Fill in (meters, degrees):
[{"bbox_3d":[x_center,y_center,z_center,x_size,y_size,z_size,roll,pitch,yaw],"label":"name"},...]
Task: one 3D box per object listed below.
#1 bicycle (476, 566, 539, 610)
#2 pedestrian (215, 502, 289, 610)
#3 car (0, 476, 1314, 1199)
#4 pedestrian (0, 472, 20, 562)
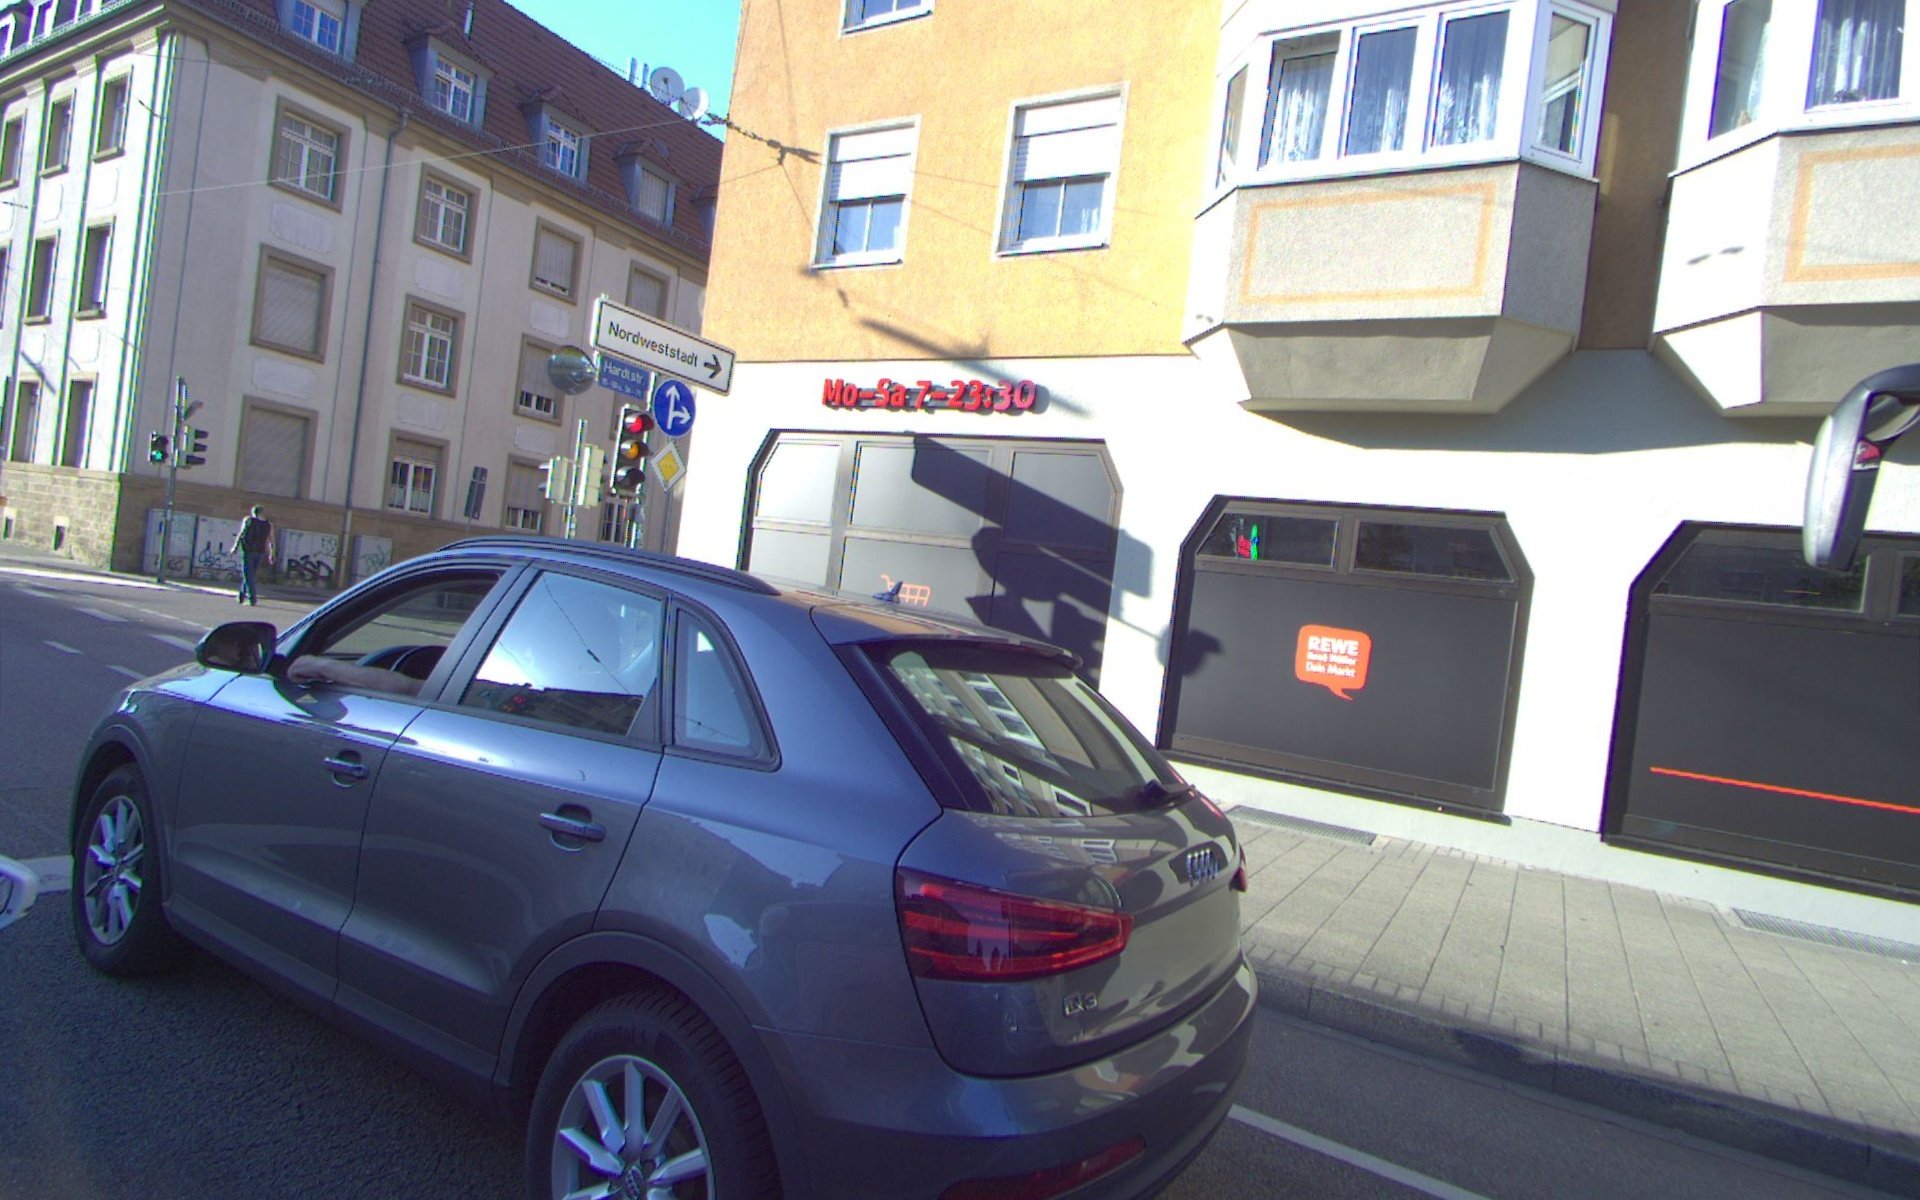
[{"bbox_3d":[-12.546,-0.323,27.927,1.499,1.029,0.247,9,-2,-43],"label":"bicycle"},{"bbox_3d":[-12.495,-0.778,17.761,0.812,1.778,0.630,6,-1,32],"label":"pedestrian"},{"bbox_3d":[-1.254,0.623,3.297,4.155,1.571,1.701,7,-1,32],"label":"car"},{"bbox_3d":[-19.653,-1.725,20.173,0.810,1.783,0.837,6,-1,31],"label":"pedestrian"}]
